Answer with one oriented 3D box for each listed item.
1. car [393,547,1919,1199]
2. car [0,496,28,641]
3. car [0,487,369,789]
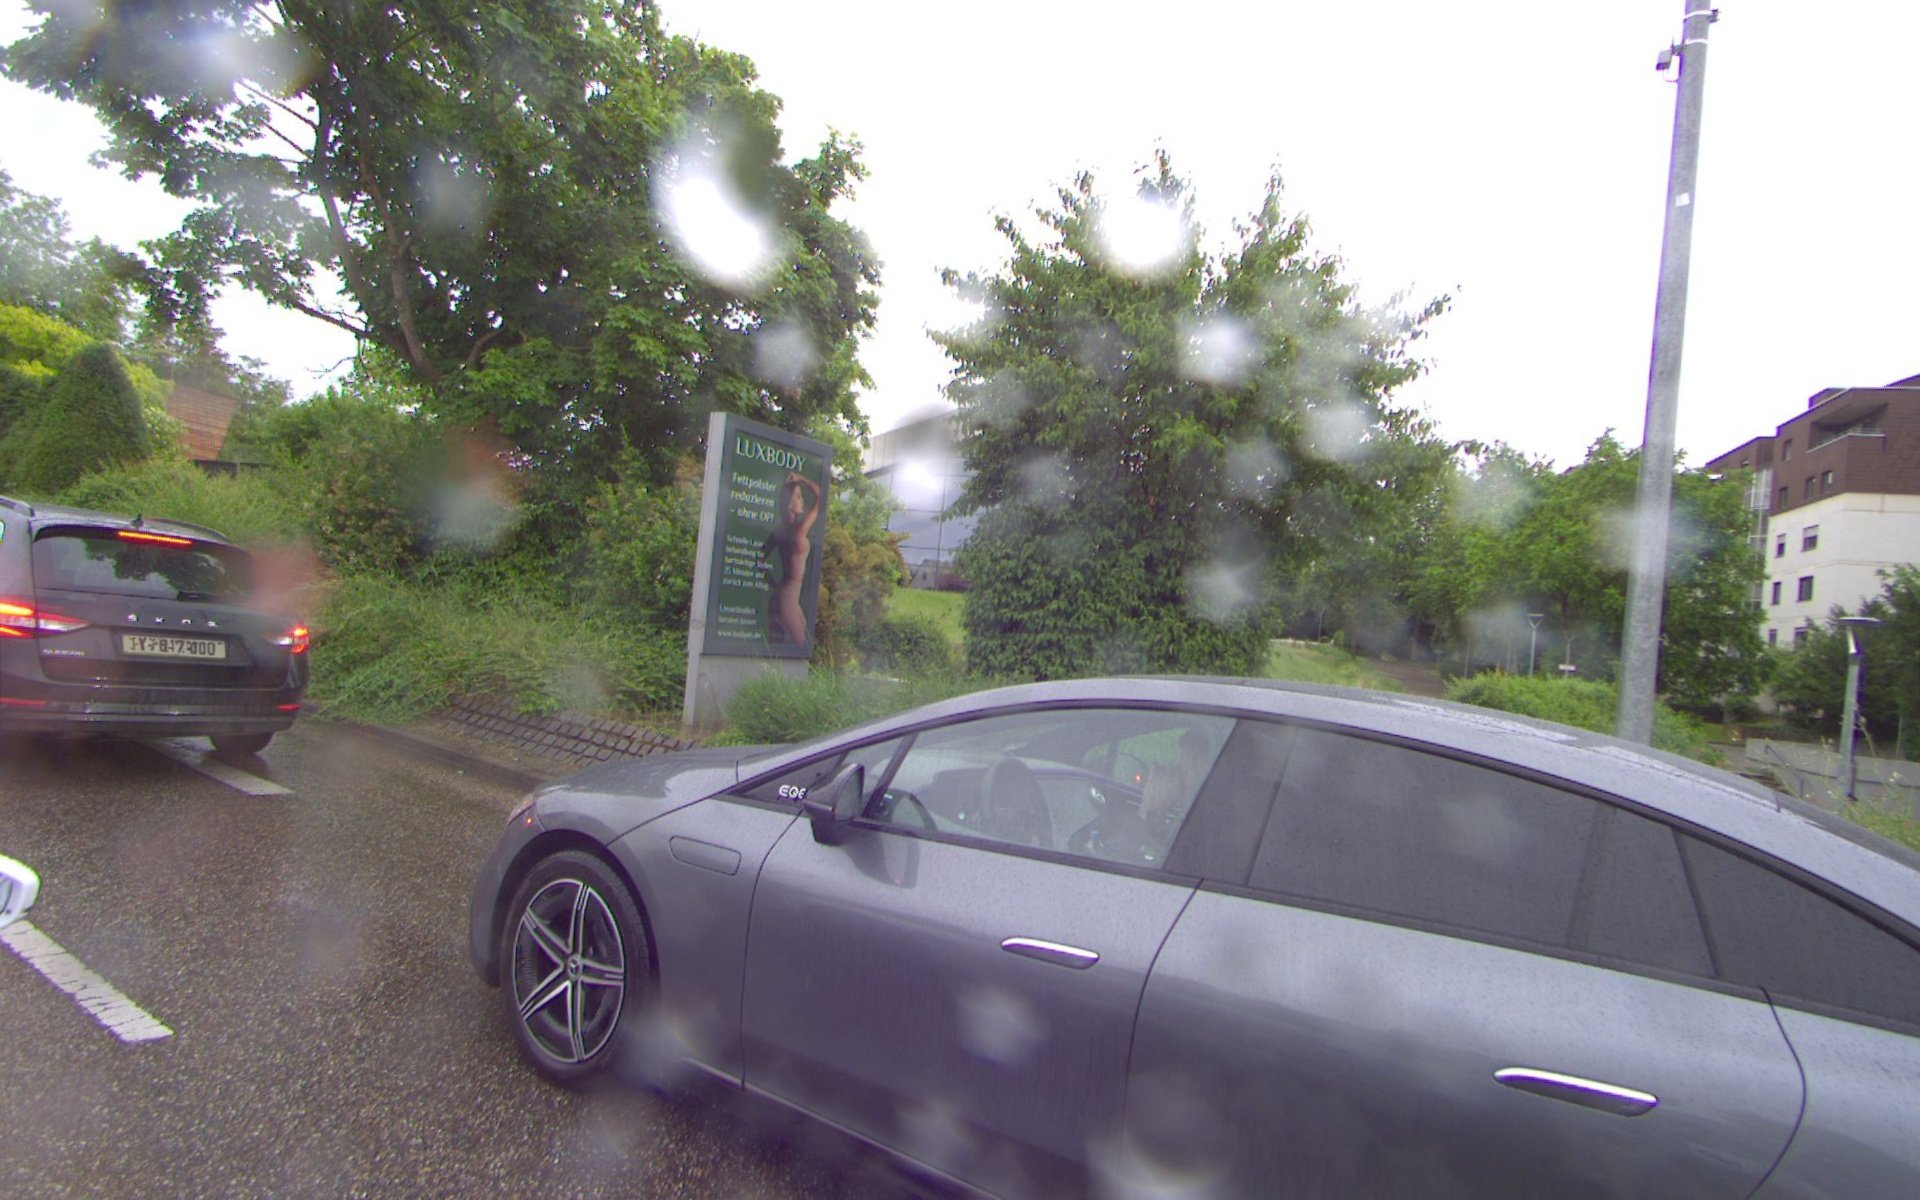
[{"bbox_3d":[0.675,0.908,2.925,4.728,1.483,1.842,7,-2,31],"label":"car"},{"bbox_3d":[-12.033,-0.625,10.780,4.048,1.483,1.842,7,-2,31],"label":"car"},{"bbox_3d":[-6.095,0.060,6.753,4.279,1.483,1.841,7,-2,33],"label":"car"}]
